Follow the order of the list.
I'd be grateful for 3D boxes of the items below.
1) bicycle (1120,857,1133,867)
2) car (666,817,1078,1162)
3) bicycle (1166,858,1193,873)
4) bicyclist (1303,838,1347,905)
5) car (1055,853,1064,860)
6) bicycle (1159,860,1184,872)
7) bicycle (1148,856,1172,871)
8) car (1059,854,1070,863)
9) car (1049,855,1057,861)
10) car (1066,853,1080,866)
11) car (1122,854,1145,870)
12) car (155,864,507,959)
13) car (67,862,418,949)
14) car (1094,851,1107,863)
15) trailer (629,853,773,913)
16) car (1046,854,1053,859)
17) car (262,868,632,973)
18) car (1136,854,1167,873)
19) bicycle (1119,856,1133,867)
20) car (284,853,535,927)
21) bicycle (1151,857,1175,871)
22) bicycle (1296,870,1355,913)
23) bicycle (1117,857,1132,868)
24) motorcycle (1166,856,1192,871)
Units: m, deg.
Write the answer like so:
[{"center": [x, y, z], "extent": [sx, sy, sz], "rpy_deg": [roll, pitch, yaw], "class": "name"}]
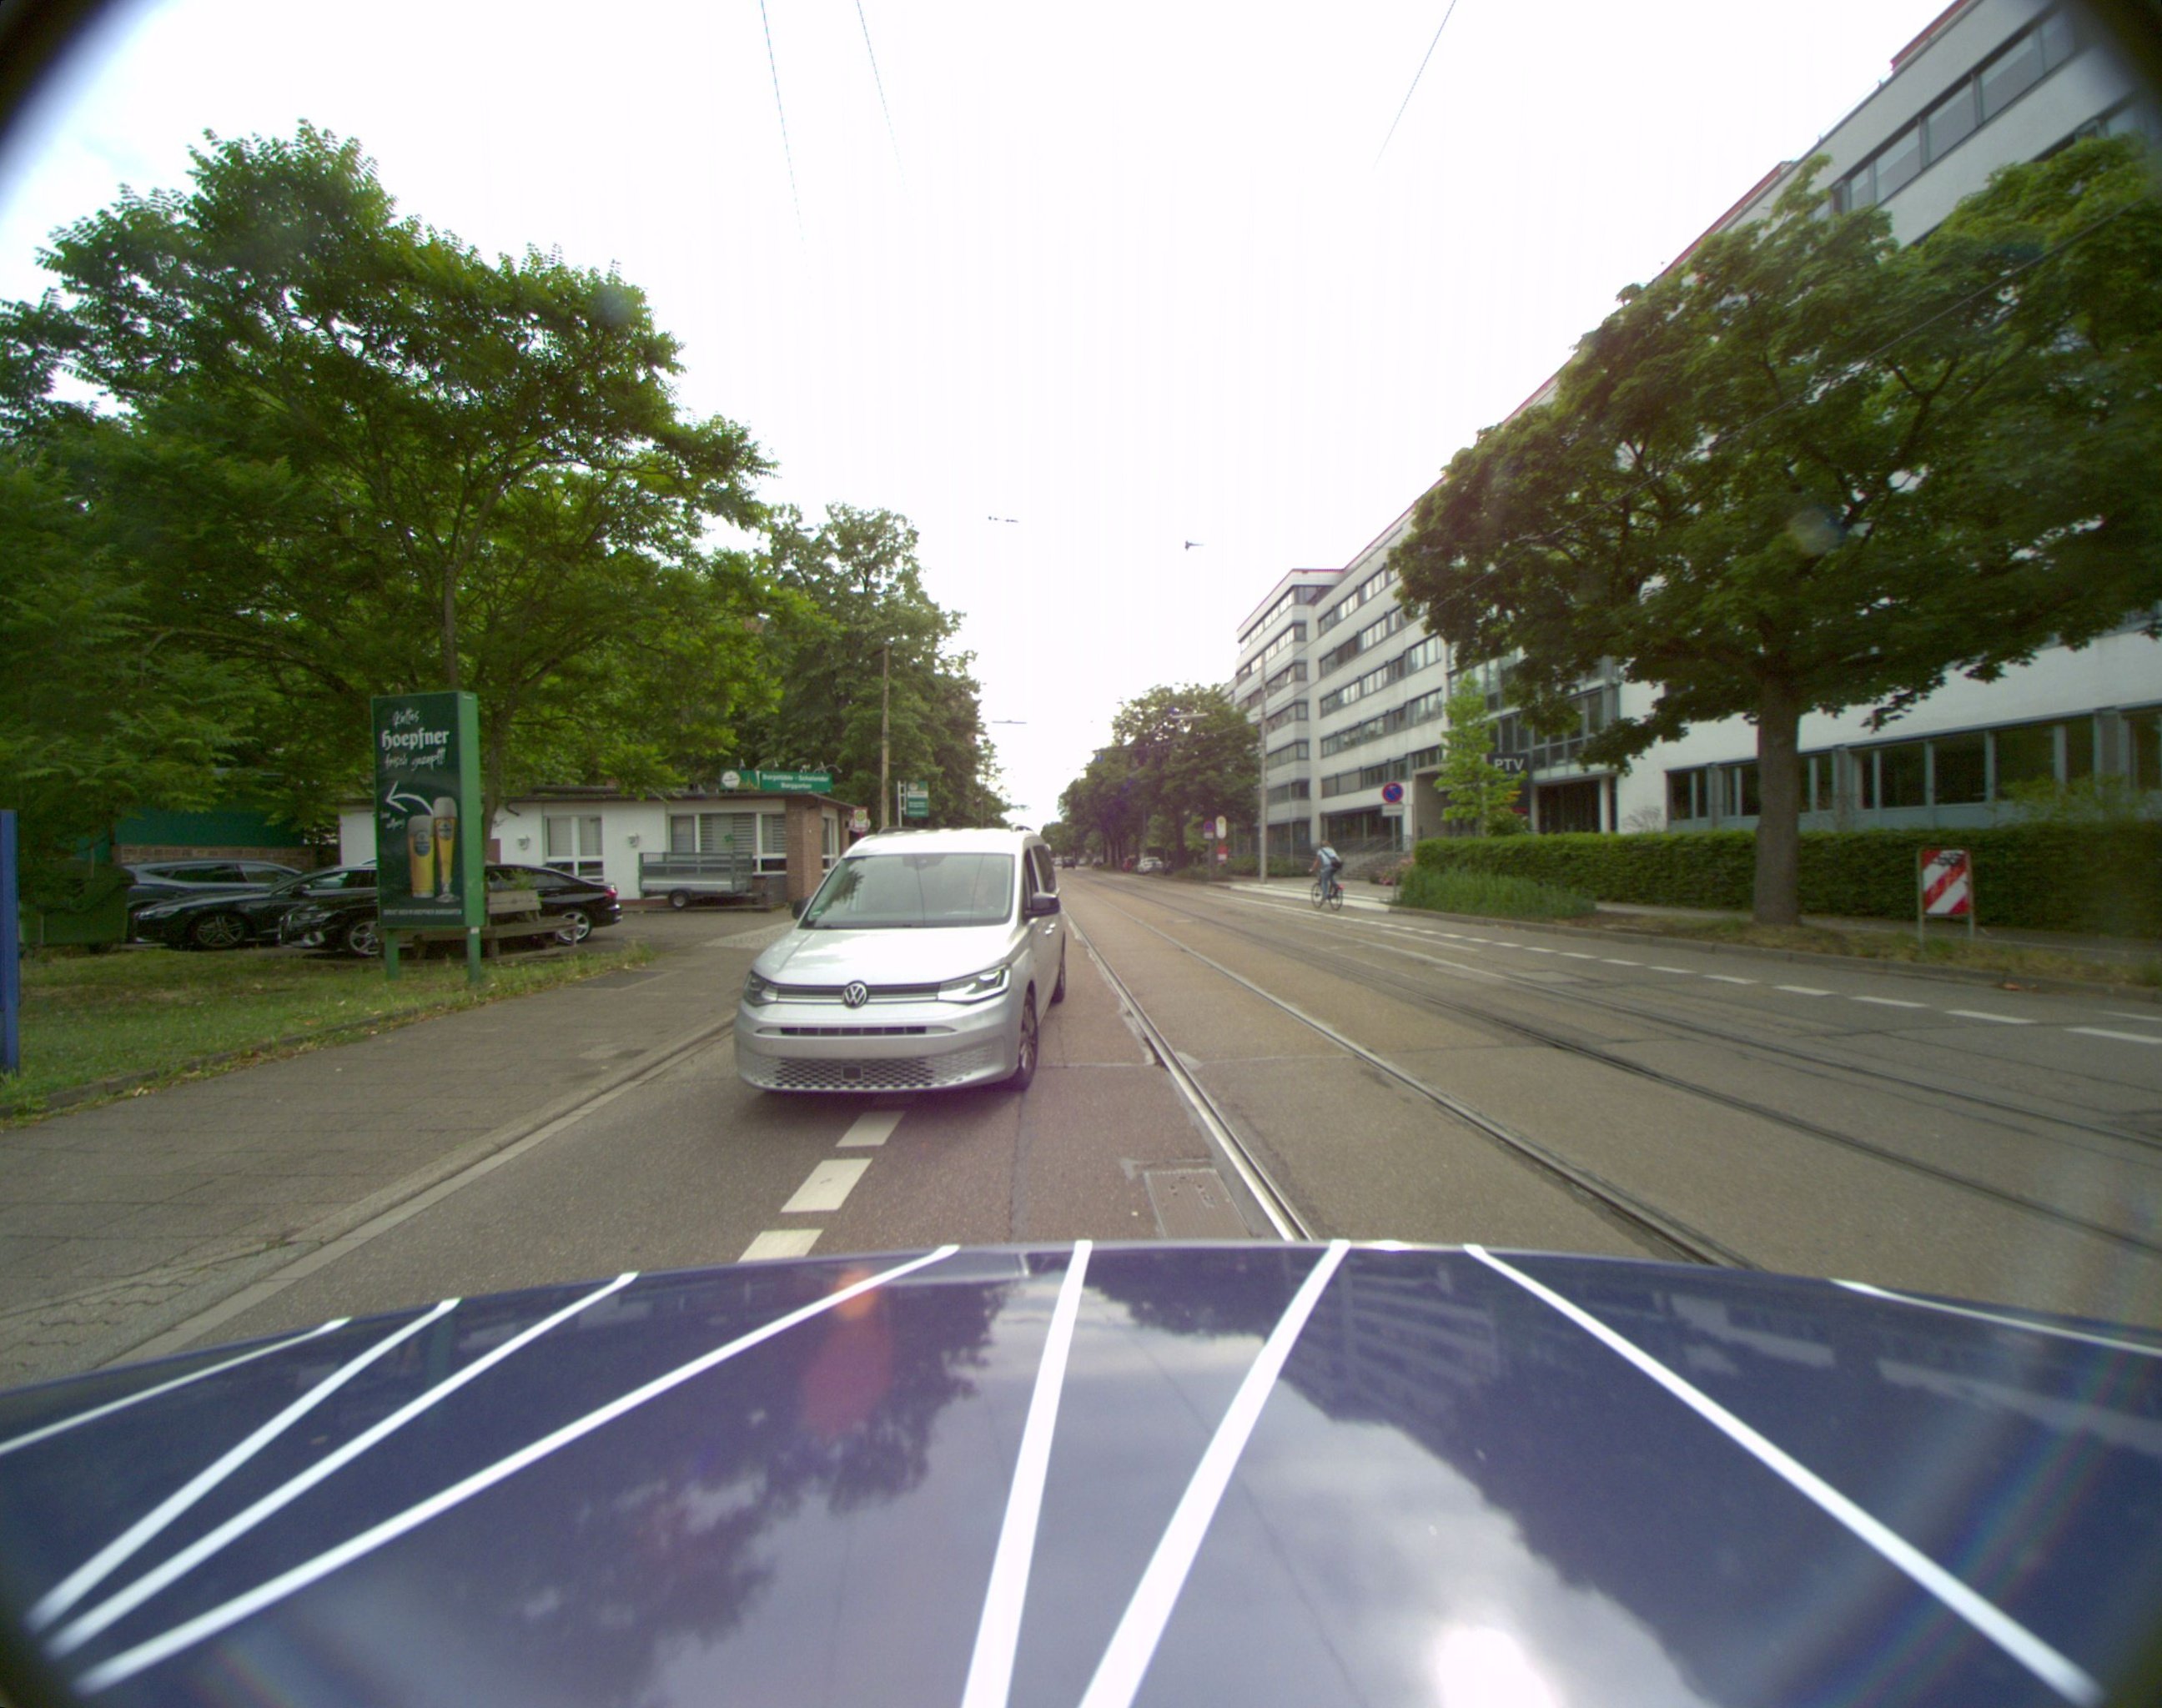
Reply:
[{"center": [5.183, 0.871, 86.551], "extent": [1.473, 1.134, 0.617], "rpy_deg": [-1, 1, -5], "class": "bicycle"}, {"center": [-1.126, 0.721, 6.469], "extent": [1.850, 1.796, 4.938], "rpy_deg": [-1, 0, 4], "class": "car"}, {"center": [7.143, 0.833, 55.197], "extent": [1.835, 1.047, 0.741], "rpy_deg": [-1, 0, -12], "class": "bicycle"}, {"center": [6.561, 0.460, 20.481], "extent": [0.738, 1.739, 0.977], "rpy_deg": [0, 1, -14], "class": "bicyclist"}, {"center": [-4.792, 0.615, 167.035], "extent": [1.753, 1.477, 4.062], "rpy_deg": [0, -1, -3], "class": "car"}, {"center": [7.041, 0.897, 59.047], "extent": [1.812, 0.894, 0.631], "rpy_deg": [0, 1, -10], "class": "bicycle"}, {"center": [6.486, 0.768, 62.570], "extent": [1.869, 1.180, 0.632], "rpy_deg": [0, 1, 1], "class": "bicycle"}, {"center": [-3.087, 0.852, 140.614], "extent": [1.708, 1.521, 3.740], "rpy_deg": [-2, 1, -5], "class": "car"}, {"center": [-7.202, 1.036, 196.211], "extent": [1.847, 1.644, 4.388], "rpy_deg": [1, 0, -3], "class": "car"}, {"center": [-1.198, 0.749, 108.322], "extent": [1.832, 1.727, 4.333], "rpy_deg": [-1, 1, -3], "class": "car"}, {"center": [5.445, 0.803, 78.633], "extent": [1.633, 1.439, 3.754], "rpy_deg": [-4, 1, -7], "class": "car"}, {"center": [-13.933, 0.948, 14.387], "extent": [1.872, 1.419, 4.552], "rpy_deg": [2, 1, 39], "class": "car"}, {"center": [-16.426, 0.912, 15.150], "extent": [1.980, 1.450, 4.501], "rpy_deg": [-1, -1, 36], "class": "car"}, {"center": [3.019, 0.398, 116.460], "extent": [1.815, 1.699, 3.999], "rpy_deg": [-3, 1, 0], "class": "car"}, {"center": [-10.550, 0.766, 21.275], "extent": [3.170, 1.530, 1.620], "rpy_deg": [-1, 1, -2], "class": "trailer"}, {"center": [-9.181, 0.803, 219.977], "extent": [1.746, 1.490, 4.259], "rpy_deg": [-1, 0, -5], "class": "car"}, {"center": [-10.542, 0.973, 12.961], "extent": [1.929, 1.399, 4.594], "rpy_deg": [0, -1, 40], "class": "car"}, {"center": [6.083, 0.825, 65.643], "extent": [1.886, 1.485, 4.751], "rpy_deg": [-3, 0, -4], "class": "car"}, {"center": [5.103, 0.868, 87.051], "extent": [1.473, 1.134, 0.617], "rpy_deg": [-3, 1, -5], "class": "bicycle"}, {"center": [-16.452, 0.846, 18.787], "extent": [4.434, 1.637, 1.991], "rpy_deg": [-1, 1, 2], "class": "car"}, {"center": [6.637, 0.808, 61.417], "extent": [1.812, 1.094, 0.631], "rpy_deg": [0, 1, -10], "class": "bicycle"}, {"center": [6.562, 0.982, 20.490], "extent": [0.589, 1.067, 1.954], "rpy_deg": [0, 0, -14], "class": "bicycle"}, {"center": [4.916, 0.942, 85.530], "extent": [1.475, 1.085, 0.616], "rpy_deg": [-3, 1, -16], "class": "bicycle"}, {"center": [7.390, 0.741, 57.567], "extent": [1.794, 1.044, 0.732], "rpy_deg": [-2, 1, -11], "class": "motorcycle"}]
